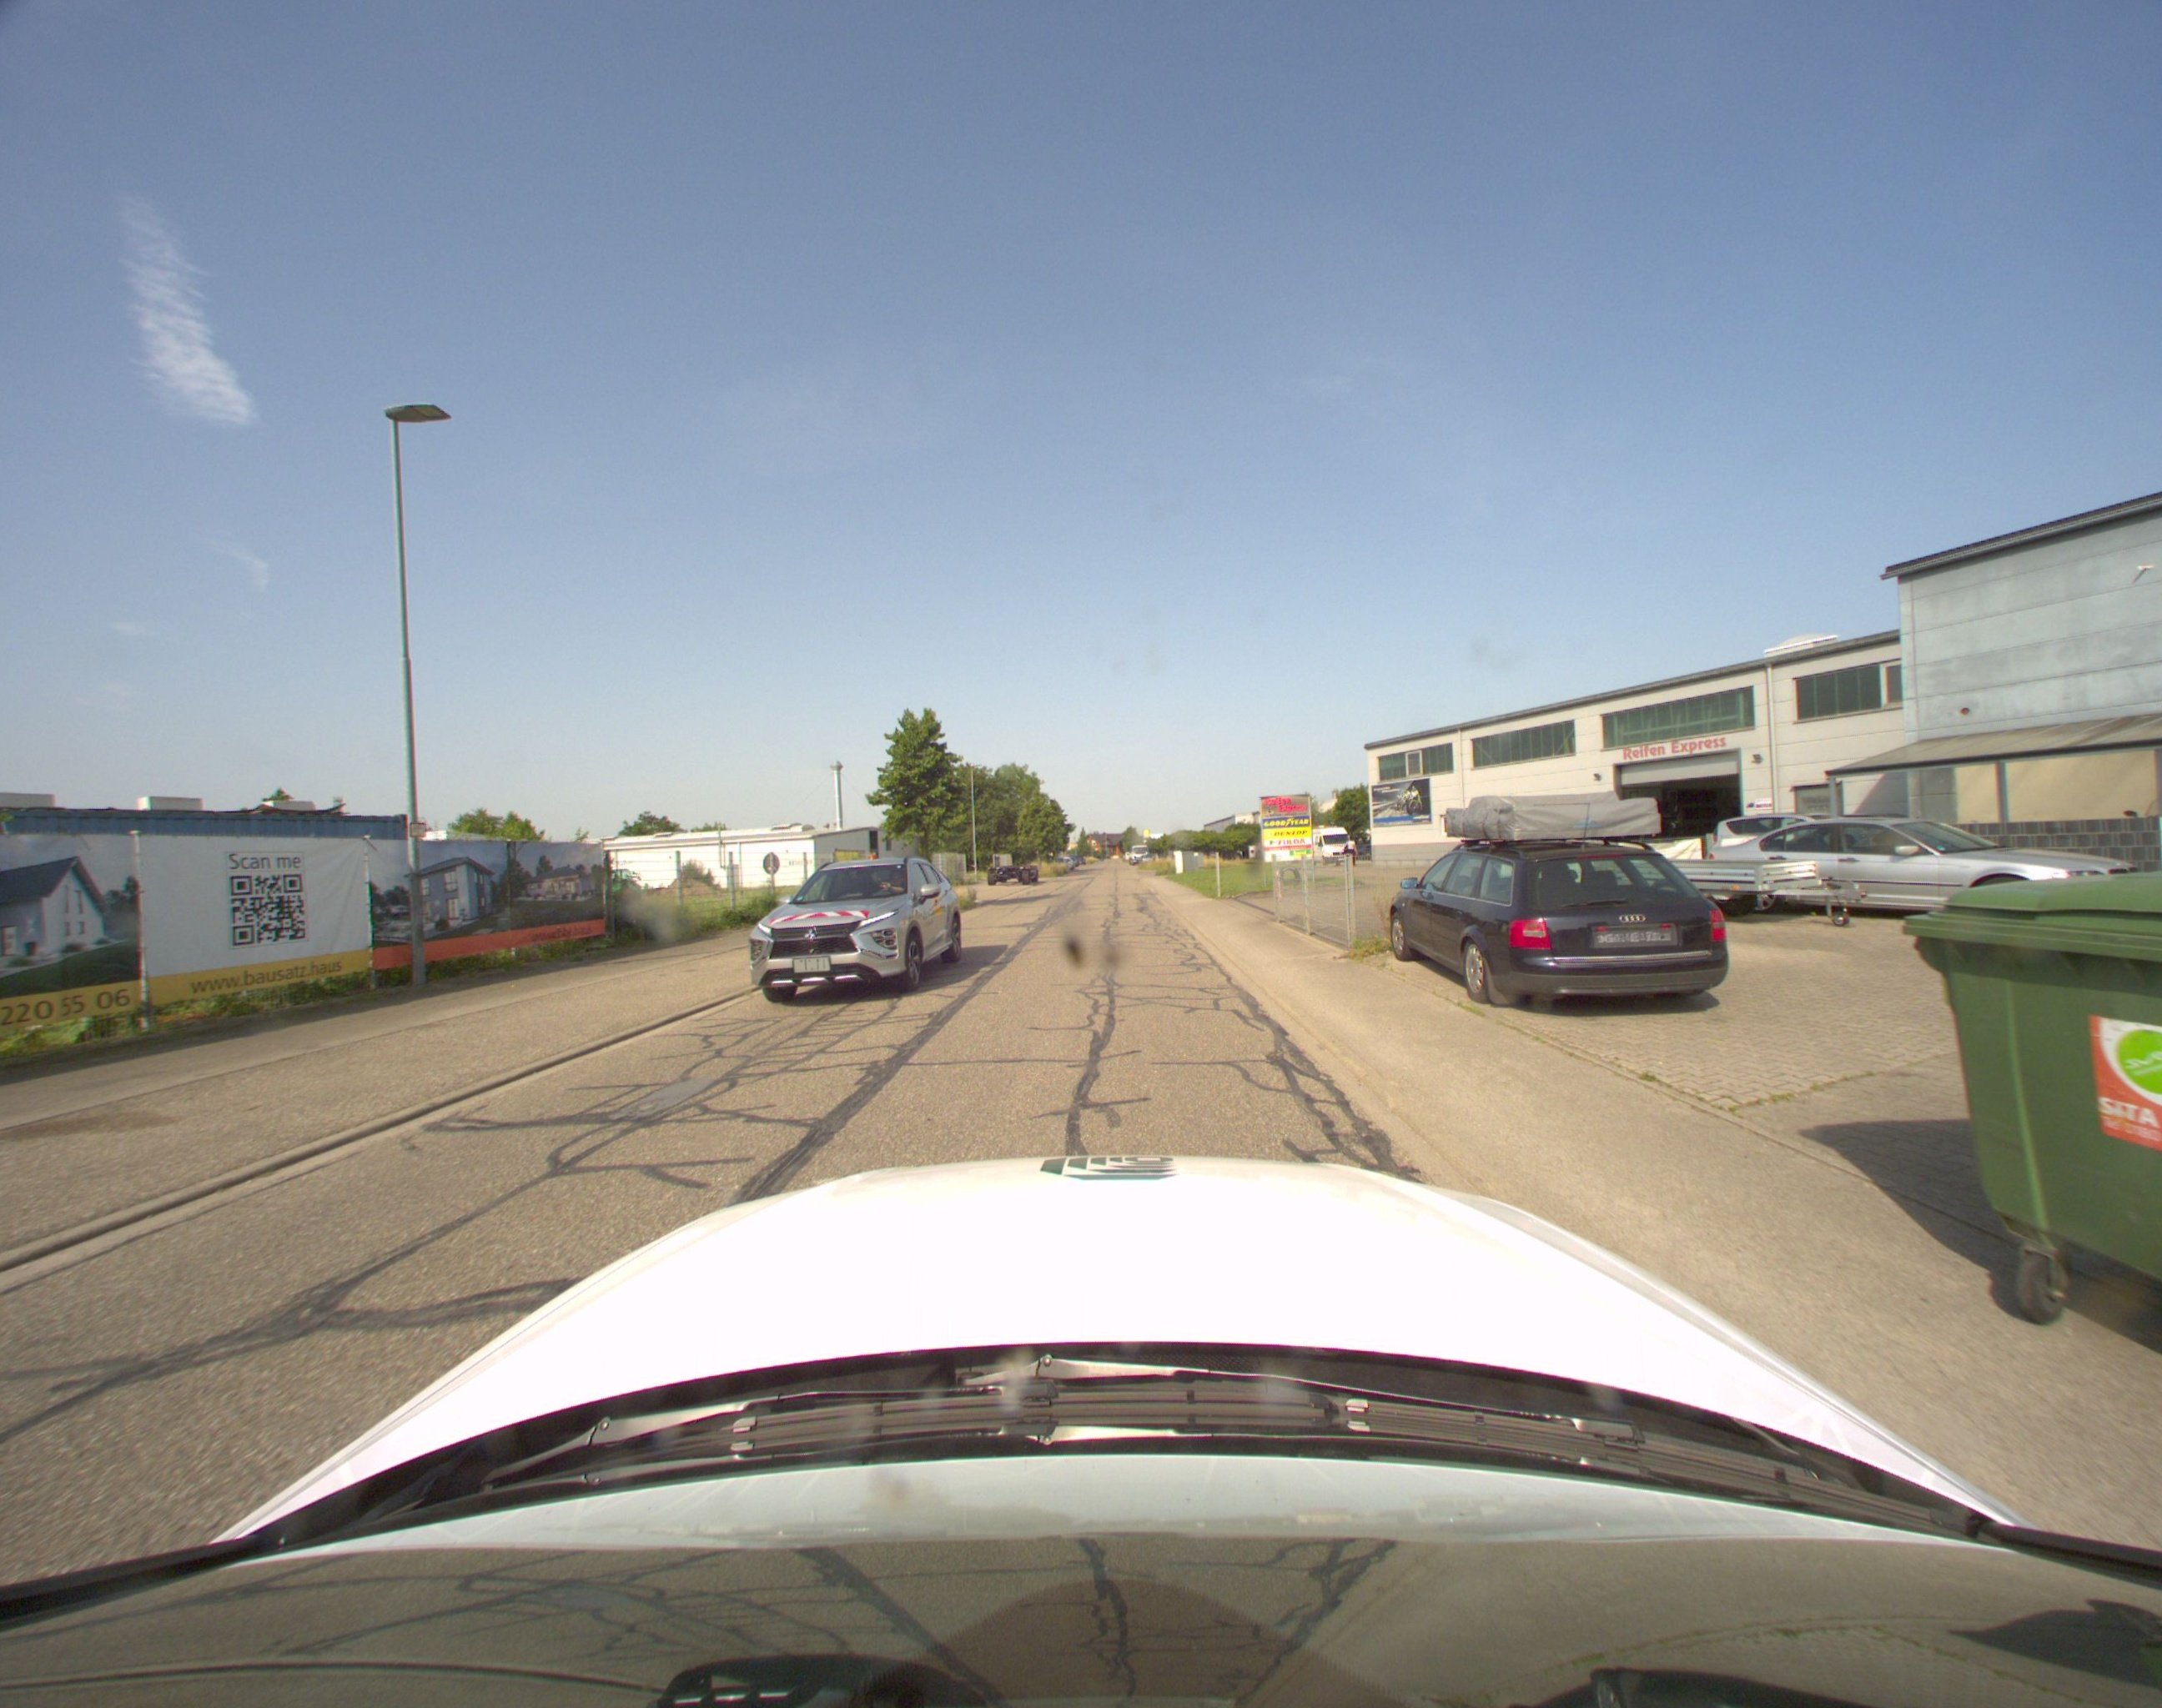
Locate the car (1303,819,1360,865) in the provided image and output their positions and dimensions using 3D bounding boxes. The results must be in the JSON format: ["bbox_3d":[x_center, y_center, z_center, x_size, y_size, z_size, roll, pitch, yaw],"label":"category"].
[{"bbox_3d":[16.268,-0.738,53.209,1.966,2.705,5.883,-3,0,2],"label":"car"}]

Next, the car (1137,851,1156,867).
[{"bbox_3d":[6.897,0.497,86.320,1.787,1.517,4.426,-3,0,2],"label":"car"}]

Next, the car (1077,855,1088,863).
[{"bbox_3d":[0.331,0.876,145.904,1.793,1.386,3.639,-1,0,2],"label":"car"}]

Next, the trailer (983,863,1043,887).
[{"bbox_3d":[-4.016,1.241,50.357,2.572,1.184,9.367,-1,0,2],"label":"trailer"}]

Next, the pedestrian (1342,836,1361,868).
[{"bbox_3d":[14.371,-0.105,43.250,0.695,1.640,0.754,-3,-1,37],"label":"pedestrian"}]

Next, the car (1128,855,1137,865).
[{"bbox_3d":[10.888,1.285,172.182,1.830,1.924,3.758,-4,0,3],"label":"car"}]

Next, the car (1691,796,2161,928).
[{"bbox_3d":[11.548,0.109,11.548,1.645,1.466,4.431,-3,0,-20],"label":"car"}]

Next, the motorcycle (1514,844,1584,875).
[{"bbox_3d":[17.431,0.227,30.386,0.804,1.094,2.186,-3,0,-21],"label":"motorcycle"}]

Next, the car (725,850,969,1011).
[{"bbox_3d":[-2.800,0.824,10.838,1.805,1.627,4.251,-3,0,2],"label":"car"}]

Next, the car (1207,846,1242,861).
[{"bbox_3d":[17.275,-0.099,98.129,4.559,1.589,1.667,-3,0,-42],"label":"car"}]

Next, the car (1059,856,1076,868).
[{"bbox_3d":[-1.583,0.943,97.086,1.677,1.469,4.256,-1,0,2],"label":"car"}]

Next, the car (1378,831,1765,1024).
[{"bbox_3d":[4.408,0.550,8.219,1.665,1.368,4.402,-3,0,7],"label":"car"}]

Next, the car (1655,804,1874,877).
[{"bbox_3d":[16.595,-0.277,20.022,1.639,1.568,3.781,-3,0,-19],"label":"car"}]

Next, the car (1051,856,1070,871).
[{"bbox_3d":[-2.163,1.010,87.747,1.559,1.538,3.693,-3,0,5],"label":"car"}]

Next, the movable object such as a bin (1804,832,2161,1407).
[{"bbox_3d":[3.164,0.648,2.163,1.076,1.353,1.507,-5,0,3],"label":"movable object such as a bin"}]

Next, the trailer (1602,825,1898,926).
[{"bbox_3d":[9.481,0.276,11.773,1.497,1.248,2.954,-1,0,-24],"label":"trailer"}]

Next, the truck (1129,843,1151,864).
[{"bbox_3d":[7.914,-0.079,110.062,2.352,2.681,6.507,-3,0,-1],"label":"truck"}]

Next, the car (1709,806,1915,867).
[{"bbox_3d":[19.183,-0.407,21.570,1.682,1.402,3.687,-3,0,-19],"label":"car"}]
